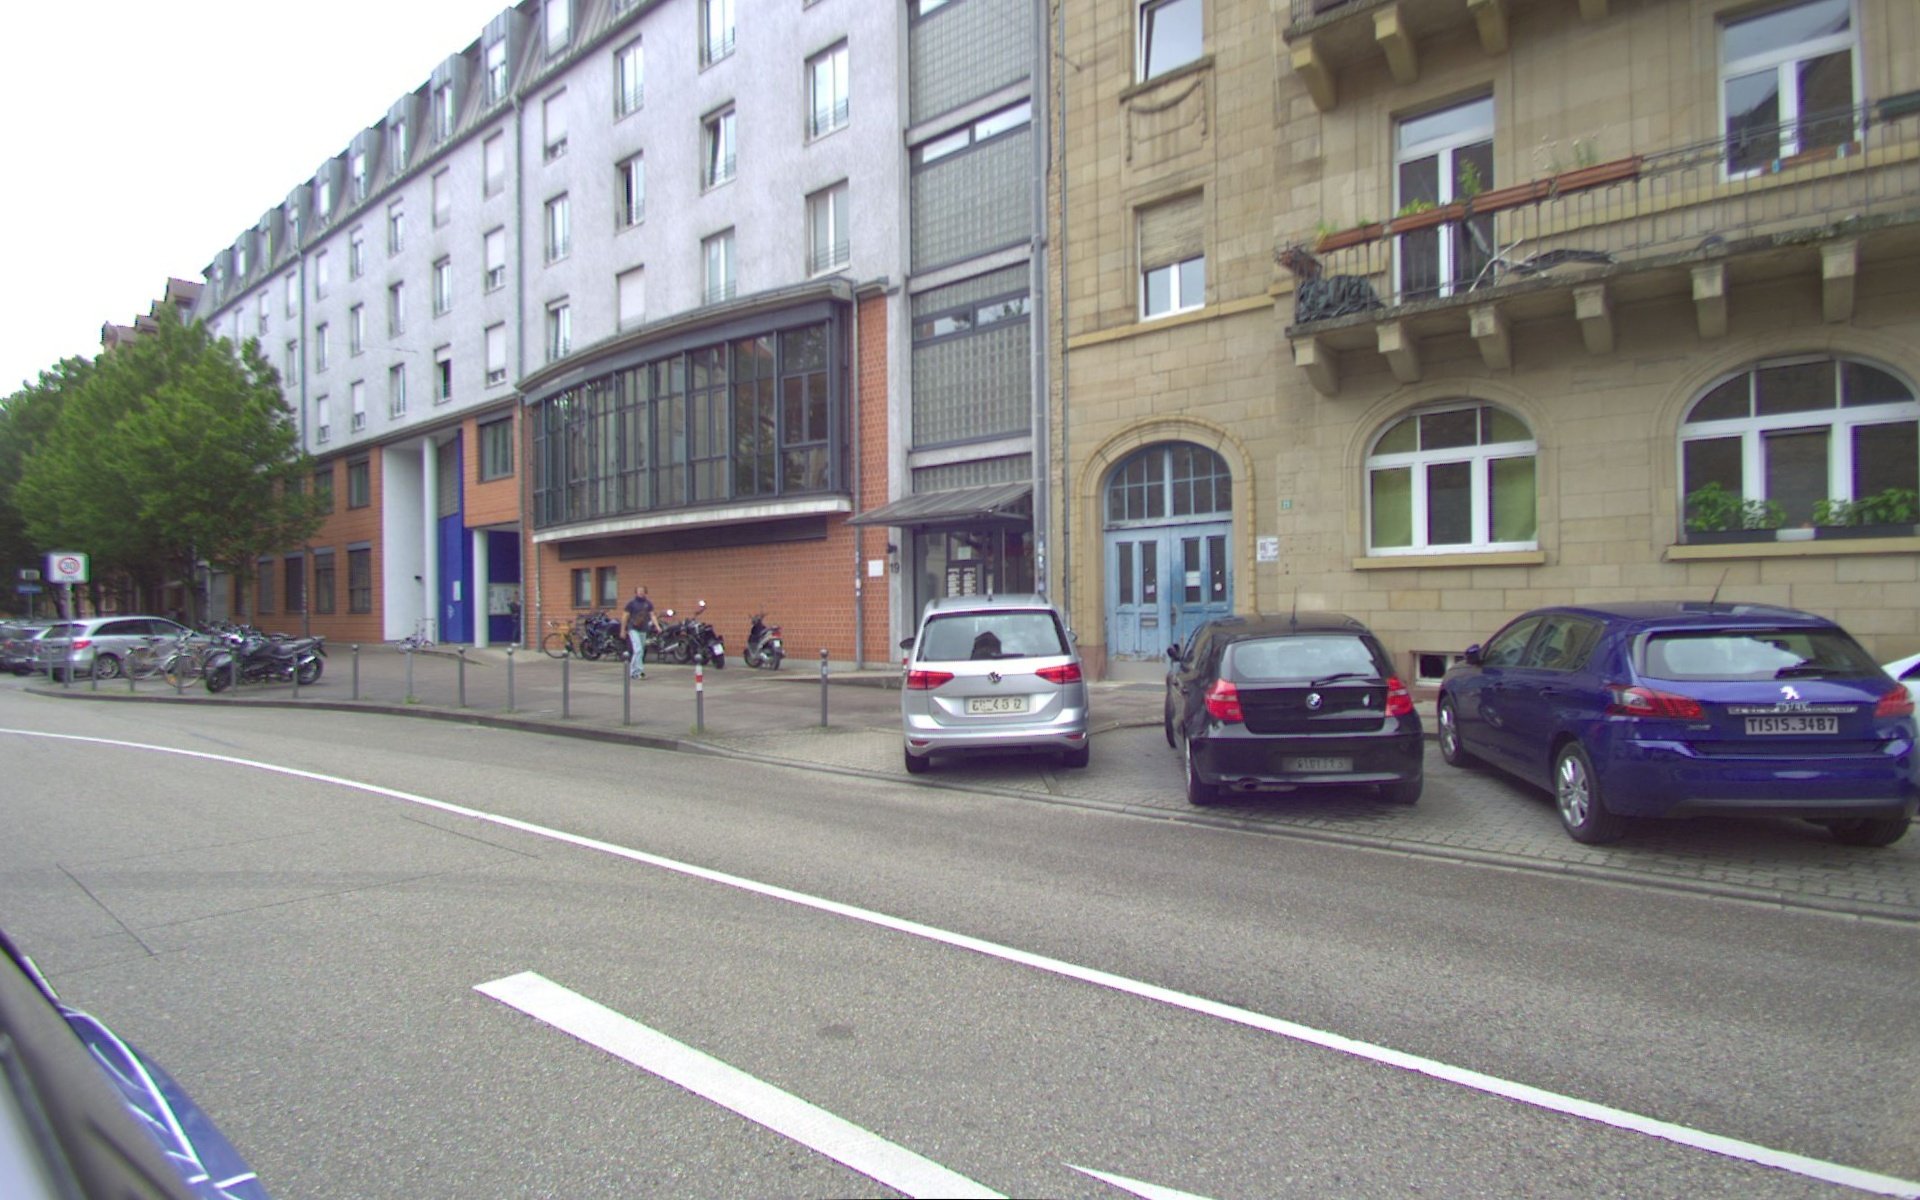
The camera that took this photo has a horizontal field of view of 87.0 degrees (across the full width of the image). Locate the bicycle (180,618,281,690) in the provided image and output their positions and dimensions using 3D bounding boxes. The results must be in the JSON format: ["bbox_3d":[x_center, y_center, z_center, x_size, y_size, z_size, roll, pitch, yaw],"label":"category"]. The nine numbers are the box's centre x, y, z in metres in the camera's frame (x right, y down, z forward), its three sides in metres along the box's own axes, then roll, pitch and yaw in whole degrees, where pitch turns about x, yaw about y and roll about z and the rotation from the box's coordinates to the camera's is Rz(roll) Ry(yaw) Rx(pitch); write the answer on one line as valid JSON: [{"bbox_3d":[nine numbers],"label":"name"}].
[{"bbox_3d":[-14.945,1.090,20.774,0.416,1.363,1.609,-1,1,39],"label":"bicycle"}]

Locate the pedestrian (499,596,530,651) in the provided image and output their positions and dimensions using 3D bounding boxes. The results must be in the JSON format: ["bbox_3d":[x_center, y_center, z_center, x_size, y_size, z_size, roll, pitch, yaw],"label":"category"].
[{"bbox_3d":[-13.729,0.728,31.188,0.622,1.662,0.677,-1,0,42],"label":"pedestrian"}]

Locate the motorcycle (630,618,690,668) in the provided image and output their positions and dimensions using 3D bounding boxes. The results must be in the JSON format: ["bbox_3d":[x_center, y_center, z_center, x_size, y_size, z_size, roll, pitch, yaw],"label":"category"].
[{"bbox_3d":[-6.809,0.959,22.898,1.762,1.106,0.440,-1,-1,42],"label":"motorcycle"}]

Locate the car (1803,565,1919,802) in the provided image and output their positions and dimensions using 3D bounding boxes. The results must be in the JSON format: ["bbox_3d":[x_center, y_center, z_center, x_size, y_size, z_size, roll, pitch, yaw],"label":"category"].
[{"bbox_3d":[7.201,0.565,5.675,1.681,1.565,3.997,-2,1,3],"label":"car"}]

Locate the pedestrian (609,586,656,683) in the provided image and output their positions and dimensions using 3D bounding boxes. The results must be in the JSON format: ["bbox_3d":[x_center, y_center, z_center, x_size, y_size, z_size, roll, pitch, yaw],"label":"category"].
[{"bbox_3d":[-6.290,0.653,19.433,0.642,1.837,0.613,-2,-1,41],"label":"pedestrian"}]

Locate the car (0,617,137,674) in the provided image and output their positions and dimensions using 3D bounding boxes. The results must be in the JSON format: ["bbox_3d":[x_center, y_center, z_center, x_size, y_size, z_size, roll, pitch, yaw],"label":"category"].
[{"bbox_3d":[-28.510,1.387,31.583,1.983,1.641,3.977,-1,-1,18],"label":"car"}]

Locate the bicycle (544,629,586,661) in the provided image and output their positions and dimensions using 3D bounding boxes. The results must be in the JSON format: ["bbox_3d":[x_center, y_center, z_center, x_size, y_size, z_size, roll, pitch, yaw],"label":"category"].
[{"bbox_3d":[-10.160,1.147,26.037,1.581,0.793,0.332,-1,-1,42],"label":"bicycle"}]

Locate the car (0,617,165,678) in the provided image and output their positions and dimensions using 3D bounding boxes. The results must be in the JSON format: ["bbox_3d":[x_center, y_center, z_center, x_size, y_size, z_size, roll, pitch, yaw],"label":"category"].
[{"bbox_3d":[-26.290,1.355,29.923,1.983,1.641,3.977,-1,-1,18],"label":"car"}]

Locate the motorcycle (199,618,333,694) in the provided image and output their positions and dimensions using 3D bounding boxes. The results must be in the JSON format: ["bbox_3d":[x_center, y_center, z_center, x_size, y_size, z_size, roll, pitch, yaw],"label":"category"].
[{"bbox_3d":[-13.808,1.081,20.191,0.599,1.363,2.096,-1,1,41],"label":"motorcycle"}]

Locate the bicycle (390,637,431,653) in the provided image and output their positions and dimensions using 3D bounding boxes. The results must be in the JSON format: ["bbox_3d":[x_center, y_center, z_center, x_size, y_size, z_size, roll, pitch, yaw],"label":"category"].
[{"bbox_3d":[-17.007,1.399,31.305,0.527,0.440,0.997,1,0,42],"label":"bicycle"}]

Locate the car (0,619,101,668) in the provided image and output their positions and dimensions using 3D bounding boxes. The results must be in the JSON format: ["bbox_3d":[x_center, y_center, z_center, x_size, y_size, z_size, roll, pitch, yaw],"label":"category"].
[{"bbox_3d":[-32.991,1.499,35.486,1.983,1.641,3.977,-1,-1,18],"label":"car"}]

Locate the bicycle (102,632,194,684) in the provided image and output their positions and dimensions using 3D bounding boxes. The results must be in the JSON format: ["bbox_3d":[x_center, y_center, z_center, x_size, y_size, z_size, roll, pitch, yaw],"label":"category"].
[{"bbox_3d":[-18.875,1.335,23.553,0.416,1.082,1.609,-1,1,39],"label":"bicycle"}]

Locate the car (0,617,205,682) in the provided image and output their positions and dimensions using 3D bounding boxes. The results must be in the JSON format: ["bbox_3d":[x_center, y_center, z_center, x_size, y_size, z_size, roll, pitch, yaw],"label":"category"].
[{"bbox_3d":[-23.646,1.317,28.071,1.983,1.641,3.977,-1,-1,18],"label":"car"}]

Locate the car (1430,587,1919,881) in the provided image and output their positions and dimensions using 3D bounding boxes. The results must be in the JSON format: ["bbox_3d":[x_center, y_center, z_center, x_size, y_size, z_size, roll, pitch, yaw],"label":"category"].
[{"bbox_3d":[4.853,0.702,7.201,1.804,1.456,3.737,-2,1,10],"label":"car"}]

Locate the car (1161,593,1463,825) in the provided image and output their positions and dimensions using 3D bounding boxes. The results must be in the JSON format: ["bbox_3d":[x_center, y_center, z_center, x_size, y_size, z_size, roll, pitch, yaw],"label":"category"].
[{"bbox_3d":[2.742,0.739,8.789,1.713,1.449,3.990,-2,1,9],"label":"car"}]

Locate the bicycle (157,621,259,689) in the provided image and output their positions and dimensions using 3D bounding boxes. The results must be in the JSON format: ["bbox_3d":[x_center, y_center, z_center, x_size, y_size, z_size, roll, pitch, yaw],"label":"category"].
[{"bbox_3d":[-15.598,1.124,21.021,0.416,1.299,1.609,-1,1,39],"label":"bicycle"}]

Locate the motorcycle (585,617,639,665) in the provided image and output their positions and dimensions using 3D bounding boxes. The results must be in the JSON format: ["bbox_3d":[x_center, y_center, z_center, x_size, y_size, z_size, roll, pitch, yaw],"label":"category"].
[{"bbox_3d":[-8.334,0.973,24.202,1.762,1.106,0.440,-1,-1,42],"label":"motorcycle"}]

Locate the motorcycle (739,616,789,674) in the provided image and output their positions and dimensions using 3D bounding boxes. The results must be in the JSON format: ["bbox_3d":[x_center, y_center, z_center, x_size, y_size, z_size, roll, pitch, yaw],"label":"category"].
[{"bbox_3d":[-3.940,0.880,20.264,0.438,1.106,1.768,0,-1,-29],"label":"motorcycle"}]

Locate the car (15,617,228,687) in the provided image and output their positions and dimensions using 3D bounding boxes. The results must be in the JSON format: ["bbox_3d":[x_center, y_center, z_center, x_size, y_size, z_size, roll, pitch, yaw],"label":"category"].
[{"bbox_3d":[-21.637,1.279,26.329,1.758,1.641,3.977,-1,-1,18],"label":"car"}]

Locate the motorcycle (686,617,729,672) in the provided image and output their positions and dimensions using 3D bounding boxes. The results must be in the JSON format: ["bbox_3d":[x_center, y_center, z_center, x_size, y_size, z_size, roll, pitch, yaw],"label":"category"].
[{"bbox_3d":[-5.293,0.913,21.163,0.438,1.106,1.768,0,-1,-29],"label":"motorcycle"}]

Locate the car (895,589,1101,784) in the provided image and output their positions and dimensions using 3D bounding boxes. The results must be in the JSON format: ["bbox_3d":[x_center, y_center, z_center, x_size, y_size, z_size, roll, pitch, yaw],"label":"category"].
[{"bbox_3d":[0.367,0.727,10.684,1.710,1.565,3.999,-2,1,1],"label":"car"}]

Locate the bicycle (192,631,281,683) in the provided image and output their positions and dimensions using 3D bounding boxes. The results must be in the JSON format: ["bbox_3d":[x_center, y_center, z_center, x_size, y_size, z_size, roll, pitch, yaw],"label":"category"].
[{"bbox_3d":[-16.855,1.305,23.614,0.416,1.082,1.609,-1,1,39],"label":"bicycle"}]

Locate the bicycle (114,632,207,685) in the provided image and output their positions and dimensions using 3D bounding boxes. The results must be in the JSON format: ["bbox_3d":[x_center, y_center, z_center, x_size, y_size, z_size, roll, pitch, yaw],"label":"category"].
[{"bbox_3d":[-18.452,1.330,23.375,0.416,1.082,1.609,-1,1,39],"label":"bicycle"}]
